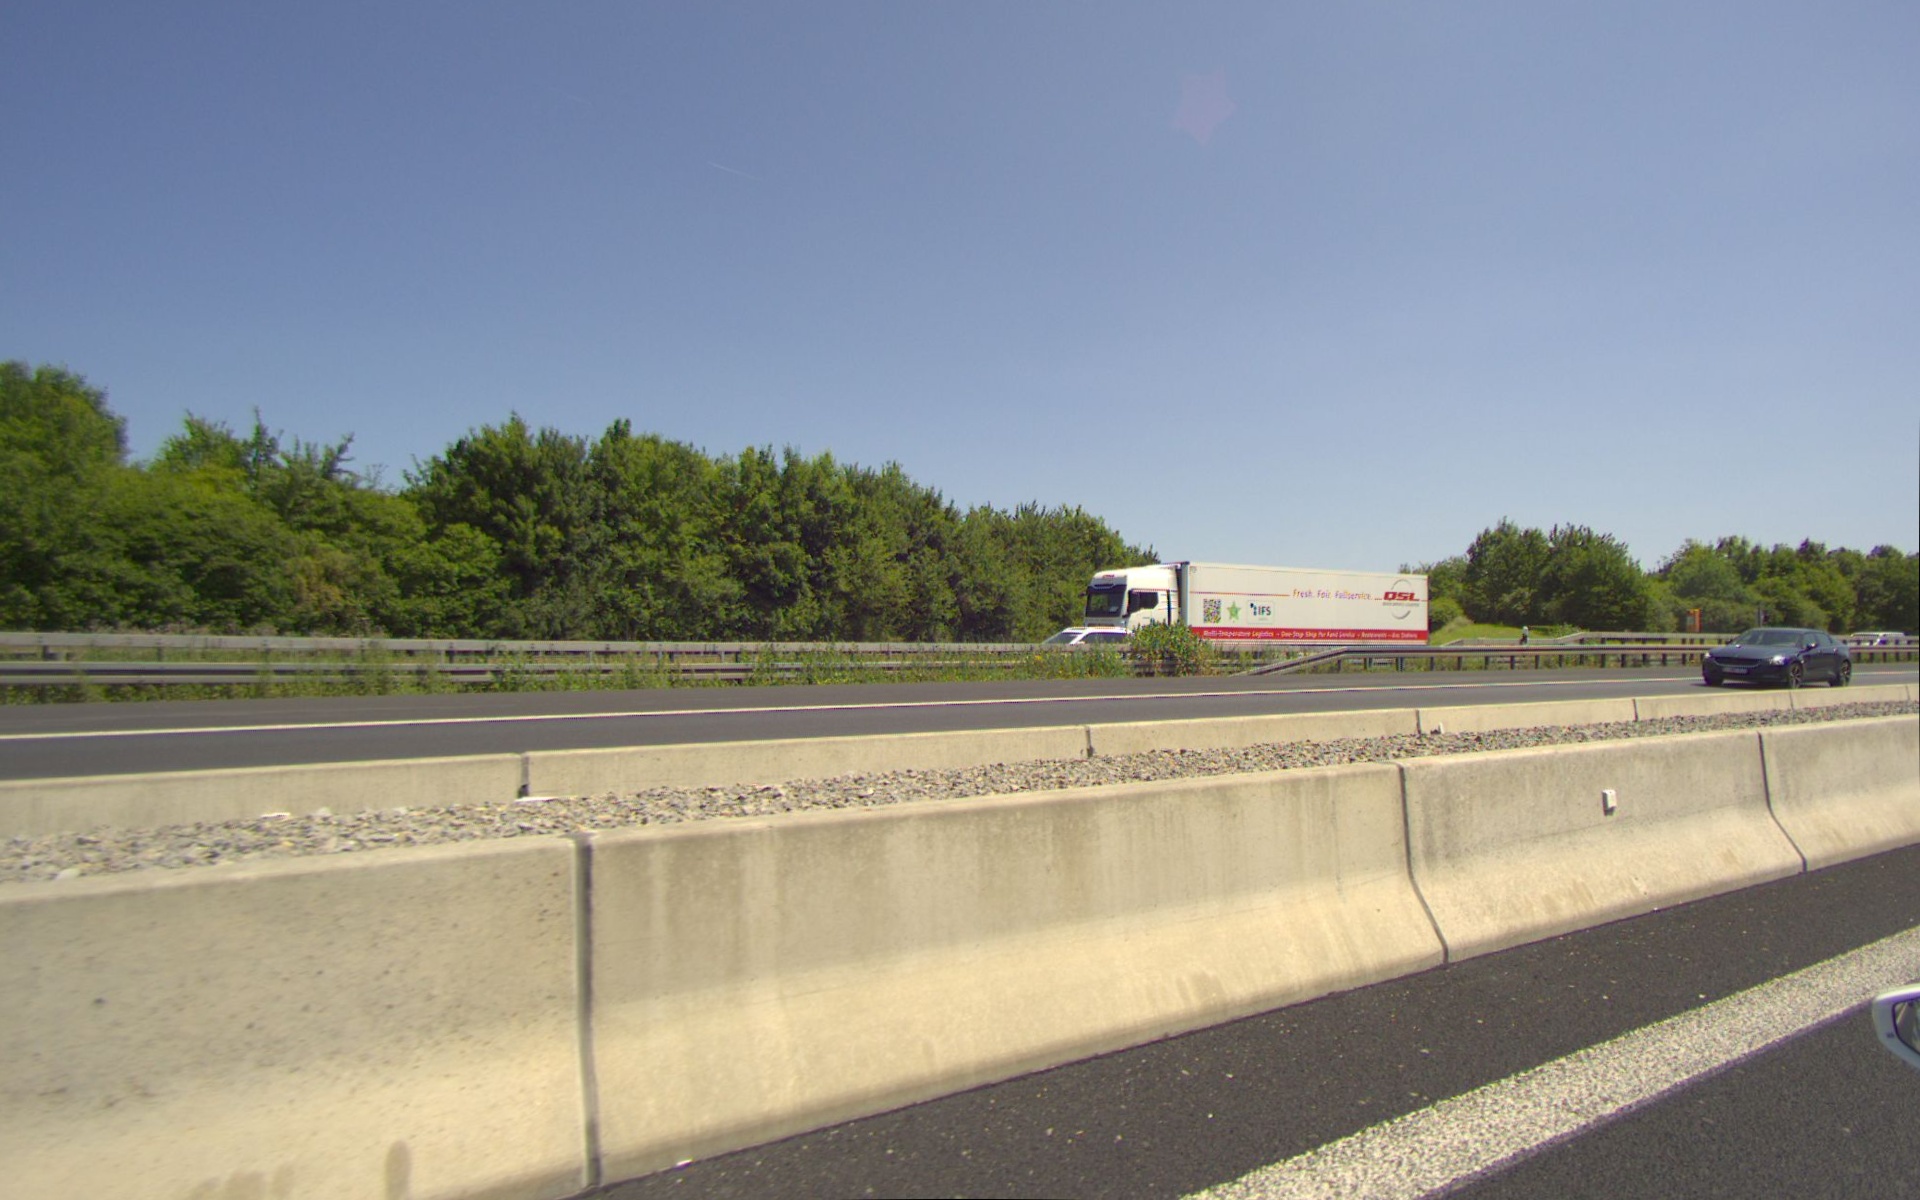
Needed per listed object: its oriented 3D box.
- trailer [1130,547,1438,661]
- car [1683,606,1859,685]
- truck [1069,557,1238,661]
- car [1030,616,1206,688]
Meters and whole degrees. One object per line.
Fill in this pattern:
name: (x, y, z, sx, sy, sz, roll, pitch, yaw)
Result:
trailer: (13.311, 0.350, 40.316, 13.913, 4.050, 3.095, 2, -1, -29)
car: (20.732, 1.139, 25.638, 4.850, 1.848, 1.983, 2, -1, -31)
truck: (7.104, 0.395, 36.816, 5.343, 3.550, 3.070, 2, -1, -29)
car: (4.877, 1.550, 30.774, 5.256, 2.040, 1.984, 1, -2, -30)
